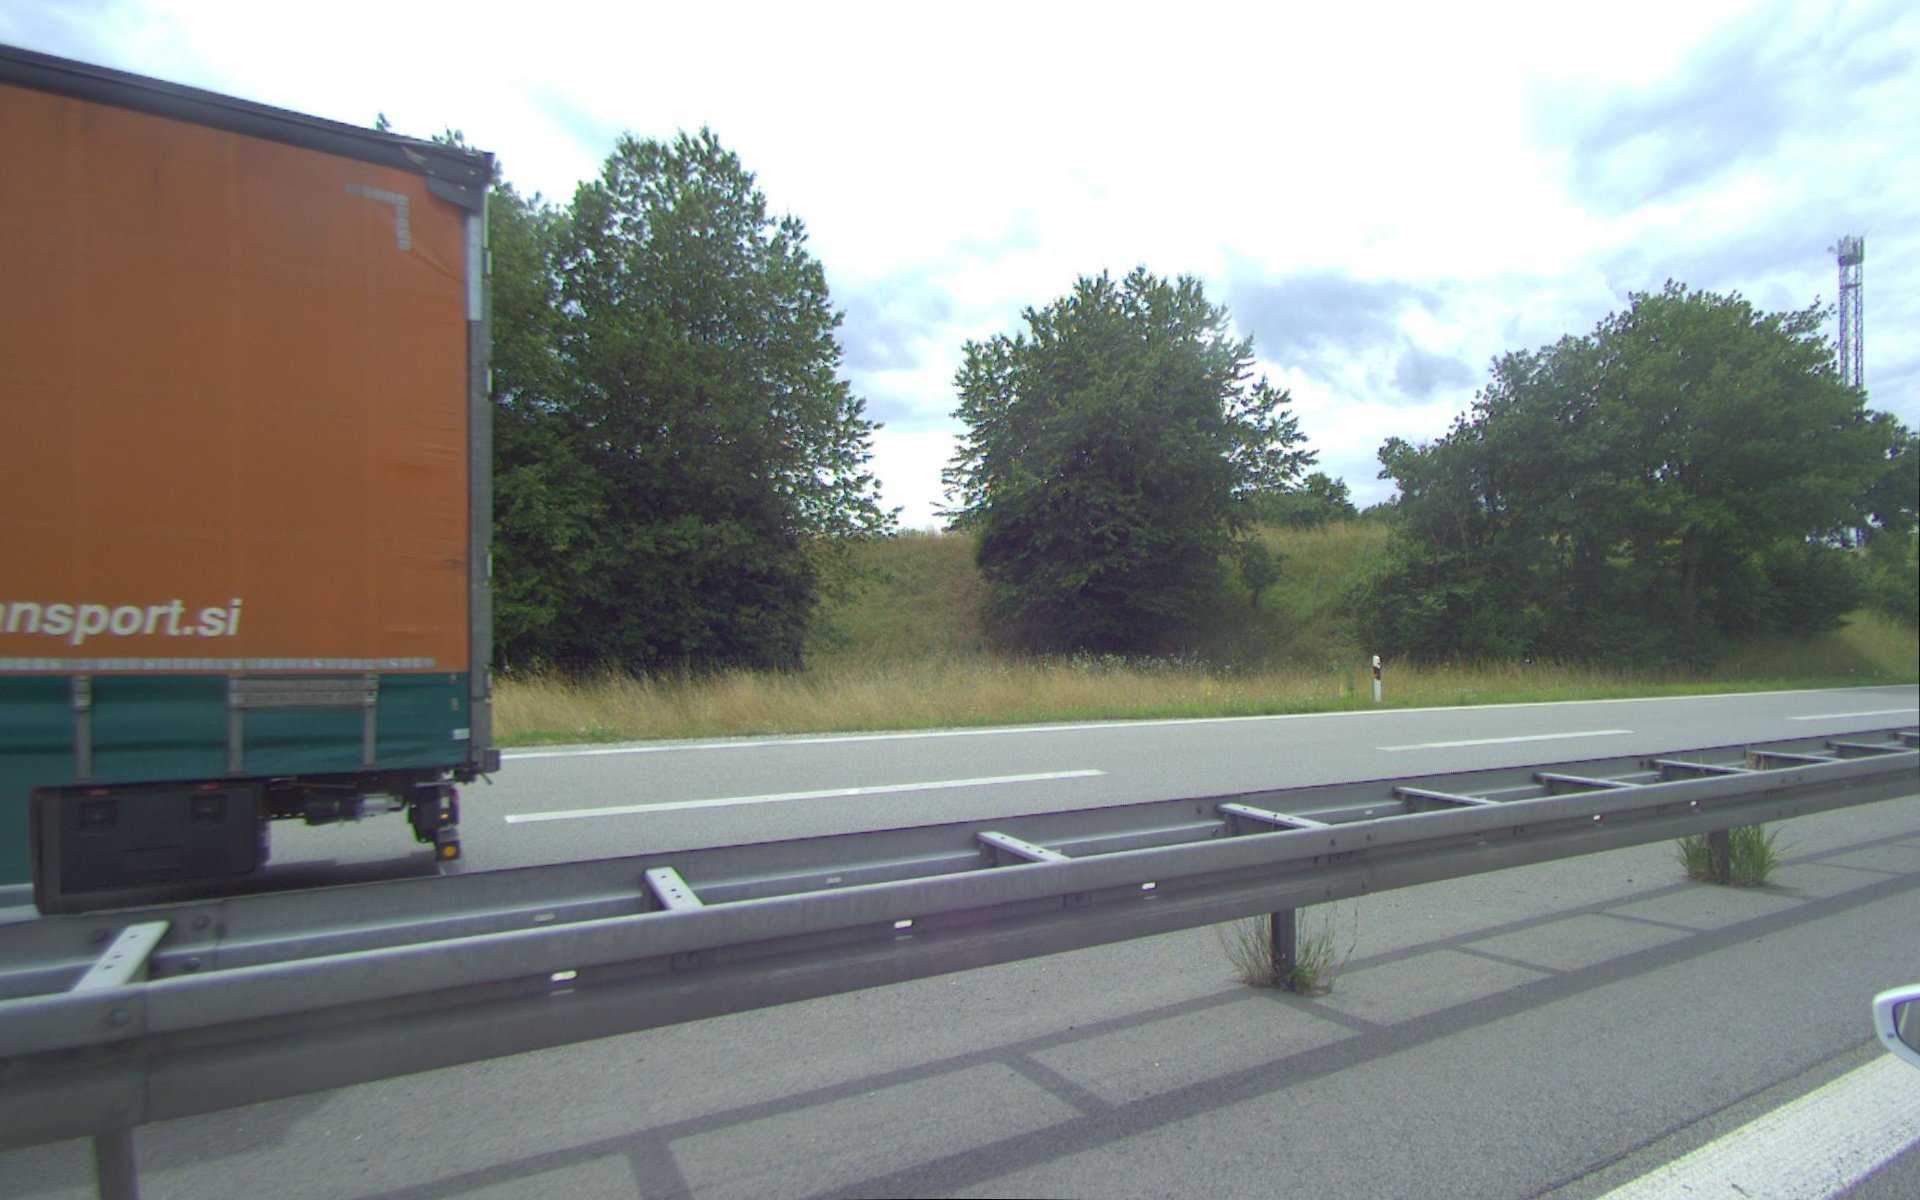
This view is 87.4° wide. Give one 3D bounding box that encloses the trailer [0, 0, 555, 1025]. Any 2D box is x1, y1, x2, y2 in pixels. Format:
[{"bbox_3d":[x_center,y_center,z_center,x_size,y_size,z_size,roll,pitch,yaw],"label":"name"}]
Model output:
[{"bbox_3d":[-7.878,-0.533,3.655,11.503,4.269,3.136,2,0,-30],"label":"trailer"}]
